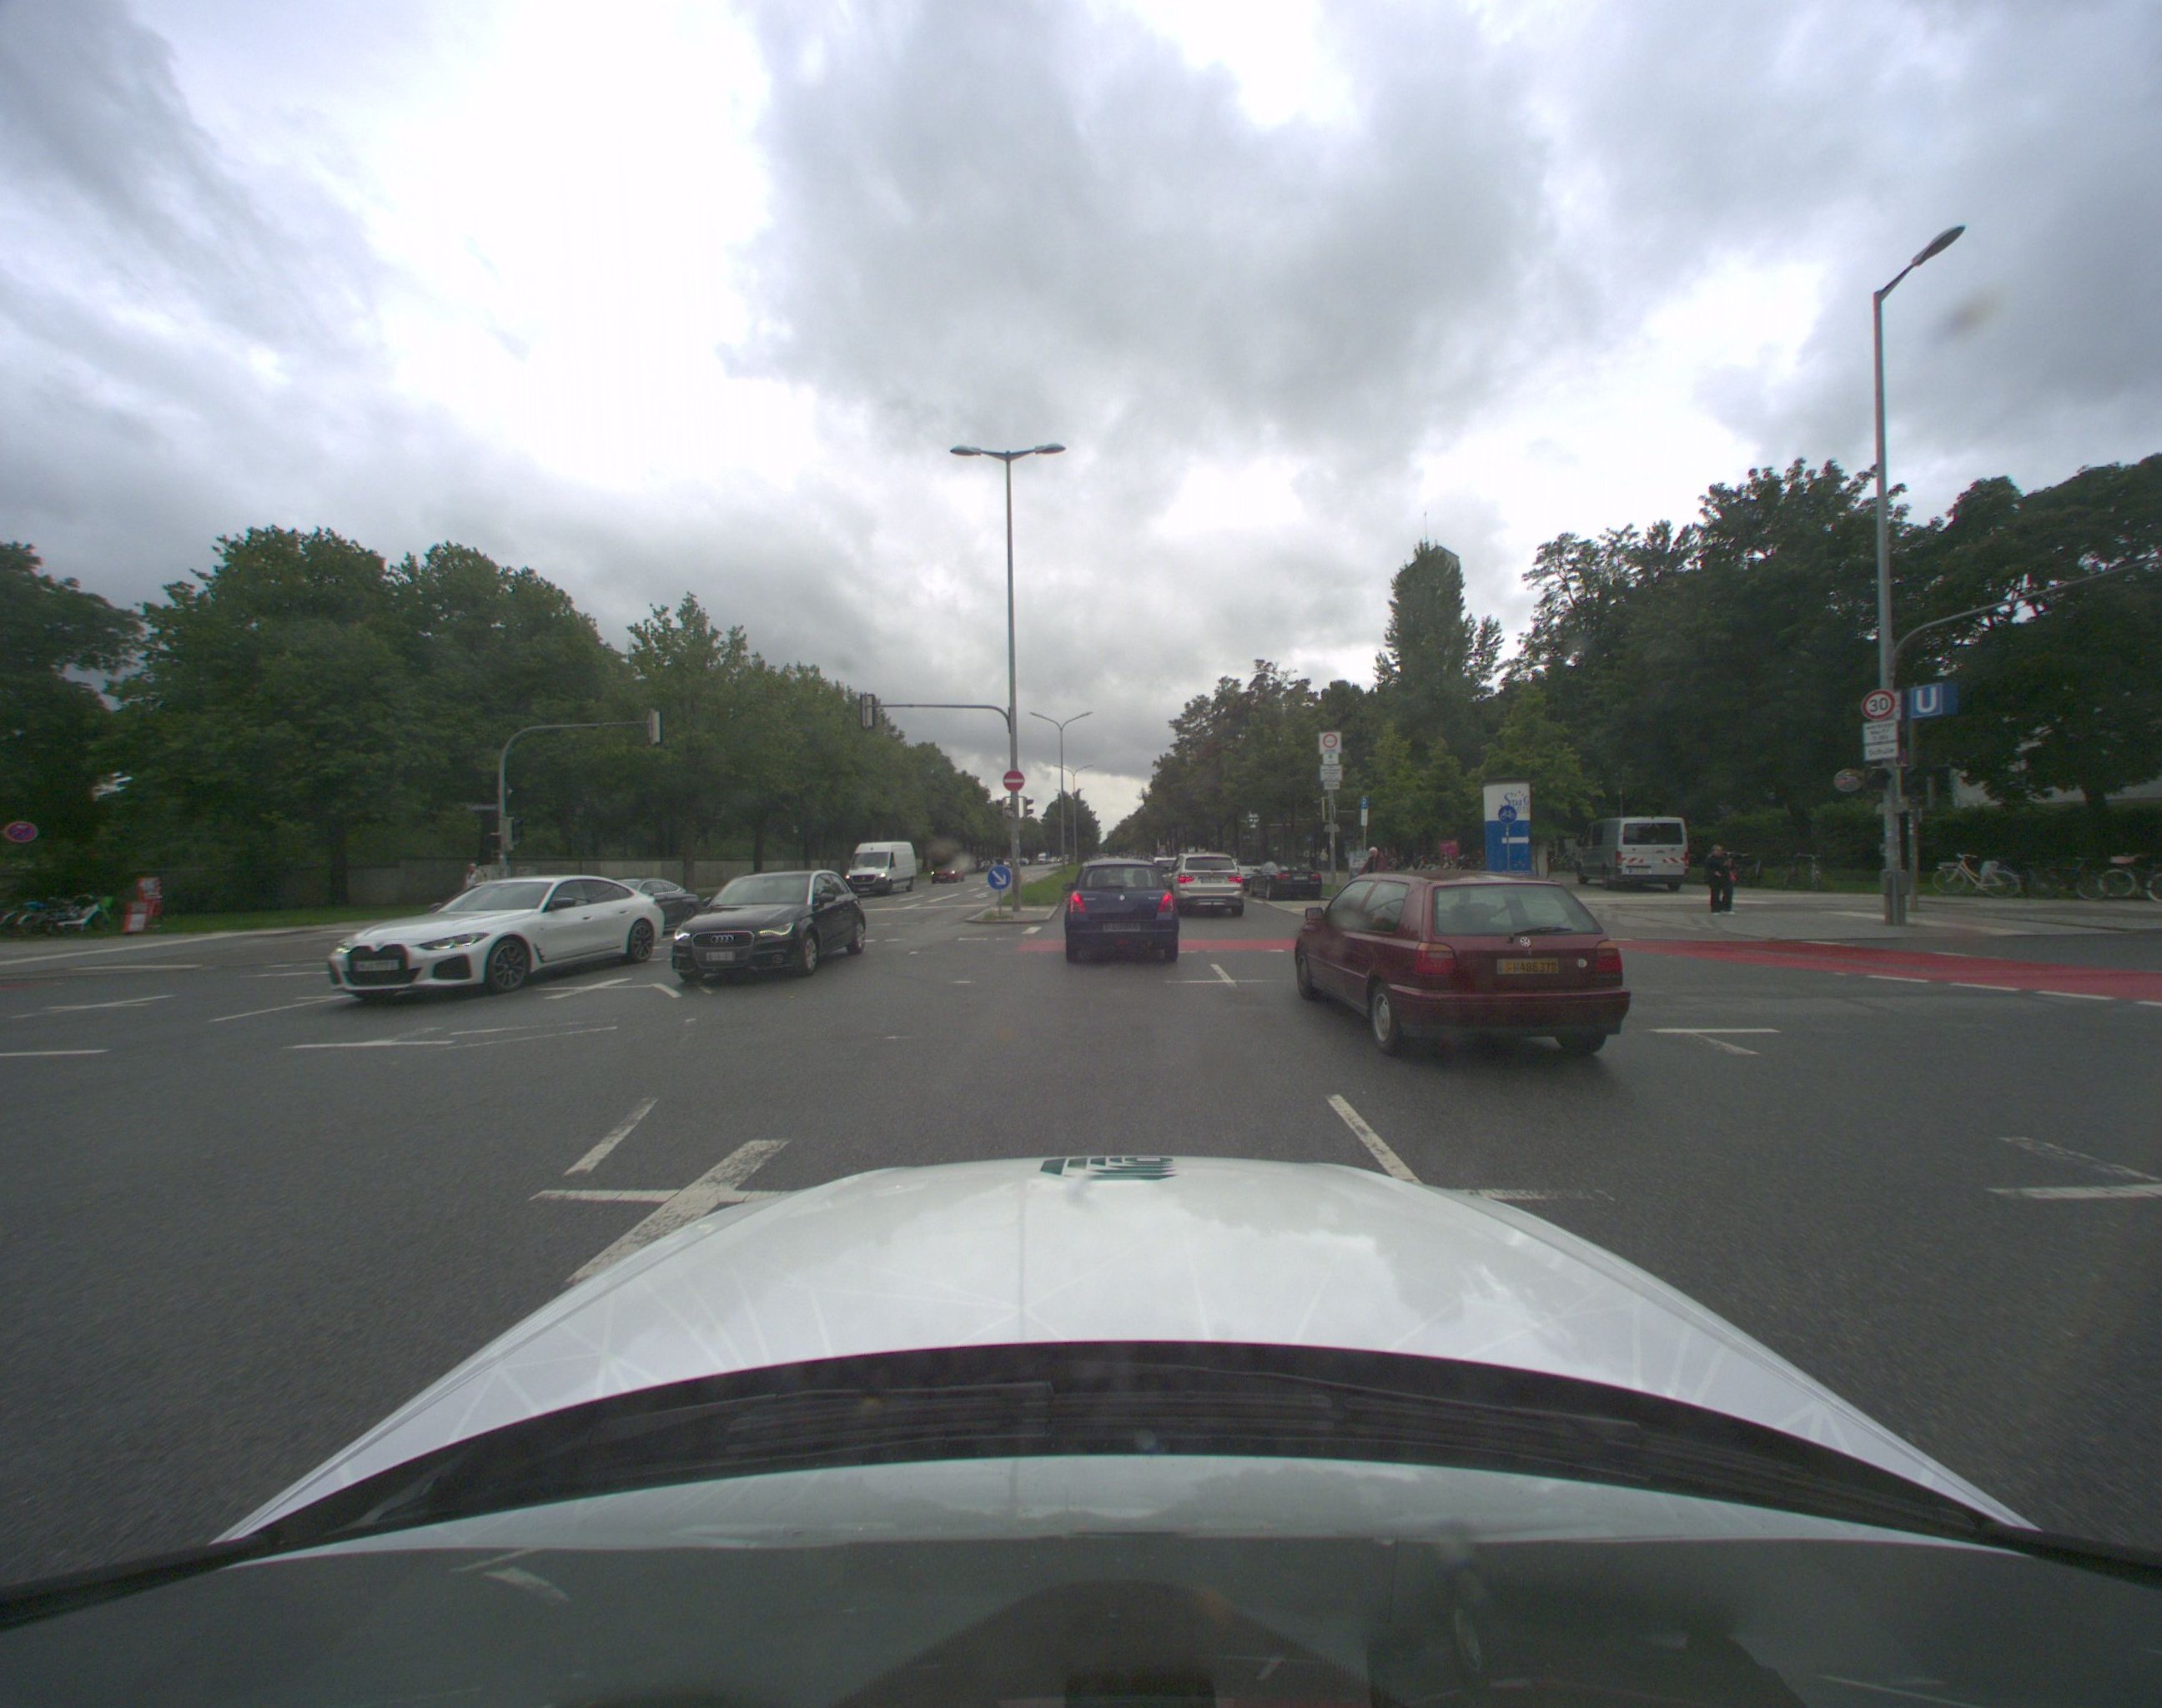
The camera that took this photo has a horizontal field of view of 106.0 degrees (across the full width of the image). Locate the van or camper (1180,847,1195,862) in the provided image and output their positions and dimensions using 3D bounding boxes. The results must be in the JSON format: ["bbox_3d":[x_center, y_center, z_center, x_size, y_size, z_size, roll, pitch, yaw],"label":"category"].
[{"bbox_3d":[19.739,0.115,151.024,2.016,2.558,5.958,-1,0,2],"label":"van or camper"}]

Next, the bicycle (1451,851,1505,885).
[{"bbox_3d":[15.692,0.547,32.205,1.940,1.212,0.565,-3,0,-11],"label":"bicycle"}]

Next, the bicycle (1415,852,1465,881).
[{"bbox_3d":[15.075,0.533,34.201,1.795,1.142,0.569,-3,0,10],"label":"bicycle"}]

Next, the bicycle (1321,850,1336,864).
[{"bbox_3d":[22.650,0.261,74.564,0.643,1.280,2.551,-1,0,1],"label":"bicycle"}]

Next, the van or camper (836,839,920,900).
[{"bbox_3d":[-9.884,0.714,40.331,2.170,2.646,6.952,-3,0,1],"label":"van or camper"}]

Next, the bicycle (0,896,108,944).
[{"bbox_3d":[-30.165,1.885,23.647,0.832,1.186,2.496,-1,0,0],"label":"bicycle"}]

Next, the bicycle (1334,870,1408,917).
[{"bbox_3d":[7.348,0.973,20.625,1.955,1.081,0.740,-1,0,-35],"label":"bicycle"}]

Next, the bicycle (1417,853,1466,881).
[{"bbox_3d":[15.589,0.557,35.273,1.797,1.142,0.568,-3,0,6],"label":"bicycle"}]

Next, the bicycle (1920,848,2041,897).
[{"bbox_3d":[24.517,0.498,22.244,0.704,1.250,2.097,-1,0,-25],"label":"bicycle"}]

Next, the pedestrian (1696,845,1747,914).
[{"bbox_3d":[14.572,0.565,18.542,0.684,1.538,0.741,-1,-1,20],"label":"pedestrian"}]

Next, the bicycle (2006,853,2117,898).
[{"bbox_3d":[25.638,0.539,21.366,0.604,1.095,2.120,-1,0,9],"label":"bicycle"}]

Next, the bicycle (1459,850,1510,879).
[{"bbox_3d":[17.099,0.433,34.529,1.799,1.142,0.567,-3,0,1],"label":"bicycle"}]

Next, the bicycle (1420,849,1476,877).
[{"bbox_3d":[17.387,0.414,38.555,2.330,1.157,0.585,-4,0,0],"label":"bicycle"}]

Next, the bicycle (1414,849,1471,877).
[{"bbox_3d":[16.836,0.433,37.909,2.330,1.157,0.585,-4,0,0],"label":"bicycle"}]

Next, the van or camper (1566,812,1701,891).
[{"bbox_3d":[18.226,-0.073,27.277,2.124,2.296,6.229,-1,0,19],"label":"van or camper"}]

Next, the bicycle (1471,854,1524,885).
[{"bbox_3d":[15.836,0.574,30.957,1.806,1.071,0.565,-3,0,-11],"label":"bicycle"}]

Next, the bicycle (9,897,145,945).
[{"bbox_3d":[-28.895,1.896,23.525,0.832,1.186,2.496,-1,0,0],"label":"bicycle"}]

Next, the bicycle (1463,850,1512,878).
[{"bbox_3d":[17.547,0.426,35.152,1.799,1.142,0.567,-3,0,1],"label":"bicycle"}]

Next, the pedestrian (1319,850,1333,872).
[{"bbox_3d":[16.587,0.473,55.113,0.580,1.513,0.690,-1,0,-17],"label":"pedestrian"}]

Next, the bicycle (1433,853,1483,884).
[{"bbox_3d":[15.182,0.578,32.788,1.806,1.142,0.565,-3,0,-11],"label":"bicycle"}]

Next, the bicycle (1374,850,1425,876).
[{"bbox_3d":[16.173,0.448,41.379,2.330,1.157,0.529,-4,0,0],"label":"bicycle"}]

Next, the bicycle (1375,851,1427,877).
[{"bbox_3d":[16.022,0.507,40.829,2.330,1.157,0.529,-4,0,0],"label":"bicycle"}]

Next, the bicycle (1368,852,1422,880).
[{"bbox_3d":[15.006,0.574,38.961,2.330,1.157,0.585,-4,0,0],"label":"bicycle"}]

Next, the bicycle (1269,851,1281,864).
[{"bbox_3d":[18.989,0.325,79.738,0.643,1.280,2.551,-1,0,1],"label":"bicycle"}]

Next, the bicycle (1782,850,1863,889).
[{"bbox_3d":[23.279,0.467,25.632,0.693,1.153,2.131,-1,0,4],"label":"bicycle"}]

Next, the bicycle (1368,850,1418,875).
[{"bbox_3d":[16.068,0.449,41.931,2.330,1.157,0.529,-4,0,0],"label":"bicycle"}]

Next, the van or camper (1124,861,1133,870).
[{"bbox_3d":[11.399,2.716,194.746,1.937,1.975,4.308,-1,0,2],"label":"van or camper"}]

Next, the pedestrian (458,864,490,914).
[{"bbox_3d":[-21.668,1.251,29.074,0.706,1.740,0.516,-1,0,-4],"label":"pedestrian"}]

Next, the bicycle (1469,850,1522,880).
[{"bbox_3d":[16.993,0.433,33.413,1.797,1.142,0.568,-3,0,6],"label":"bicycle"}]

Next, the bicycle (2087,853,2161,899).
[{"bbox_3d":[26.291,0.522,20.096,0.604,1.095,2.121,-1,0,11],"label":"bicycle"}]

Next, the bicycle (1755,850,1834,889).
[{"bbox_3d":[22.459,0.470,25.691,0.713,1.153,2.131,-1,0,4],"label":"bicycle"}]

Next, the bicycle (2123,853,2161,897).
[{"bbox_3d":[27.062,0.522,19.949,0.604,1.095,2.120,-1,0,9],"label":"bicycle"}]

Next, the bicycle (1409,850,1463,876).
[{"bbox_3d":[17.255,0.435,39.631,2.330,1.157,0.585,-4,0,0],"label":"bicycle"}]
